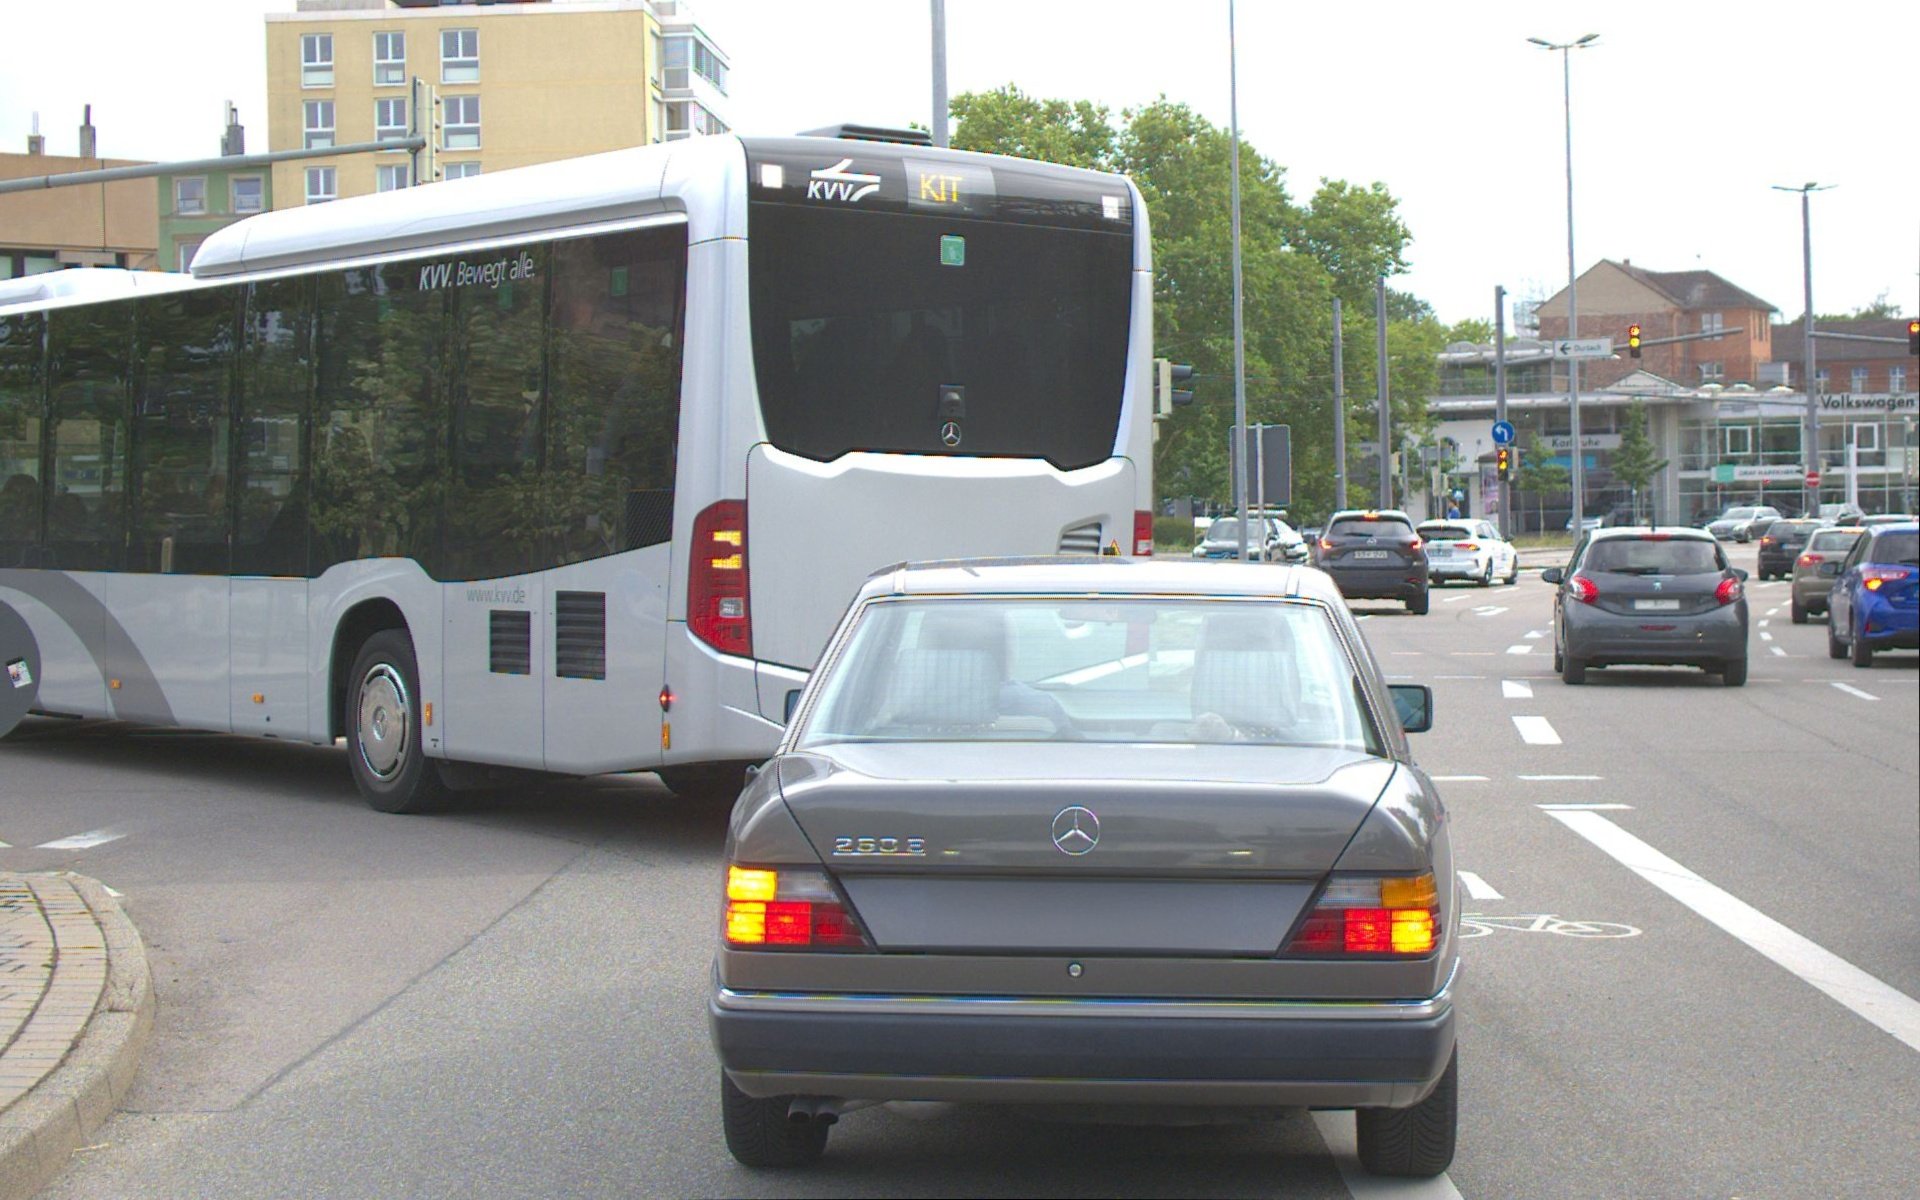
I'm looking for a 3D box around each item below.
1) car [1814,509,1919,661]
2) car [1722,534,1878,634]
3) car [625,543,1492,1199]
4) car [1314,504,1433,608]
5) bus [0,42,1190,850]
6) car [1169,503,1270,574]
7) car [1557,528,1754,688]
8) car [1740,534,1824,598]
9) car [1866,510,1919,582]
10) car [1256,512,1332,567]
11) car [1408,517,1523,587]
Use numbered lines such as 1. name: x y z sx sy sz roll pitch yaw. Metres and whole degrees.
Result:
1. car: 10.133 -0.169 36.674 1.859 1.527 4.000 1 1 12
2. car: 12.695 -0.253 51.830 2.134 1.415 3.698 1 1 16
3. car: 0.410 0.612 8.963 1.695 1.475 4.415 1 1 6
4. car: 6.712 -0.711 55.727 1.835 1.609 3.545 1 1 7
5. bus: -4.122 -0.639 21.168 2.705 3.426 14.181 -3 1 -35
6. car: 6.326 -1.480 83.378 1.994 1.645 4.510 1 1 10
7. car: 6.644 0.049 32.887 1.711 1.415 3.998 1 1 11
8. car: 19.037 -0.793 79.561 1.712 1.415 3.997 1 1 16
9. car: 19.417 -1.092 70.199 1.705 1.415 3.698 1 1 16
10. car: 10.405 -1.853 106.787 1.994 1.645 4.510 1 1 10
11. car: 10.700 -1.010 72.564 1.712 1.415 3.996 1 1 19
